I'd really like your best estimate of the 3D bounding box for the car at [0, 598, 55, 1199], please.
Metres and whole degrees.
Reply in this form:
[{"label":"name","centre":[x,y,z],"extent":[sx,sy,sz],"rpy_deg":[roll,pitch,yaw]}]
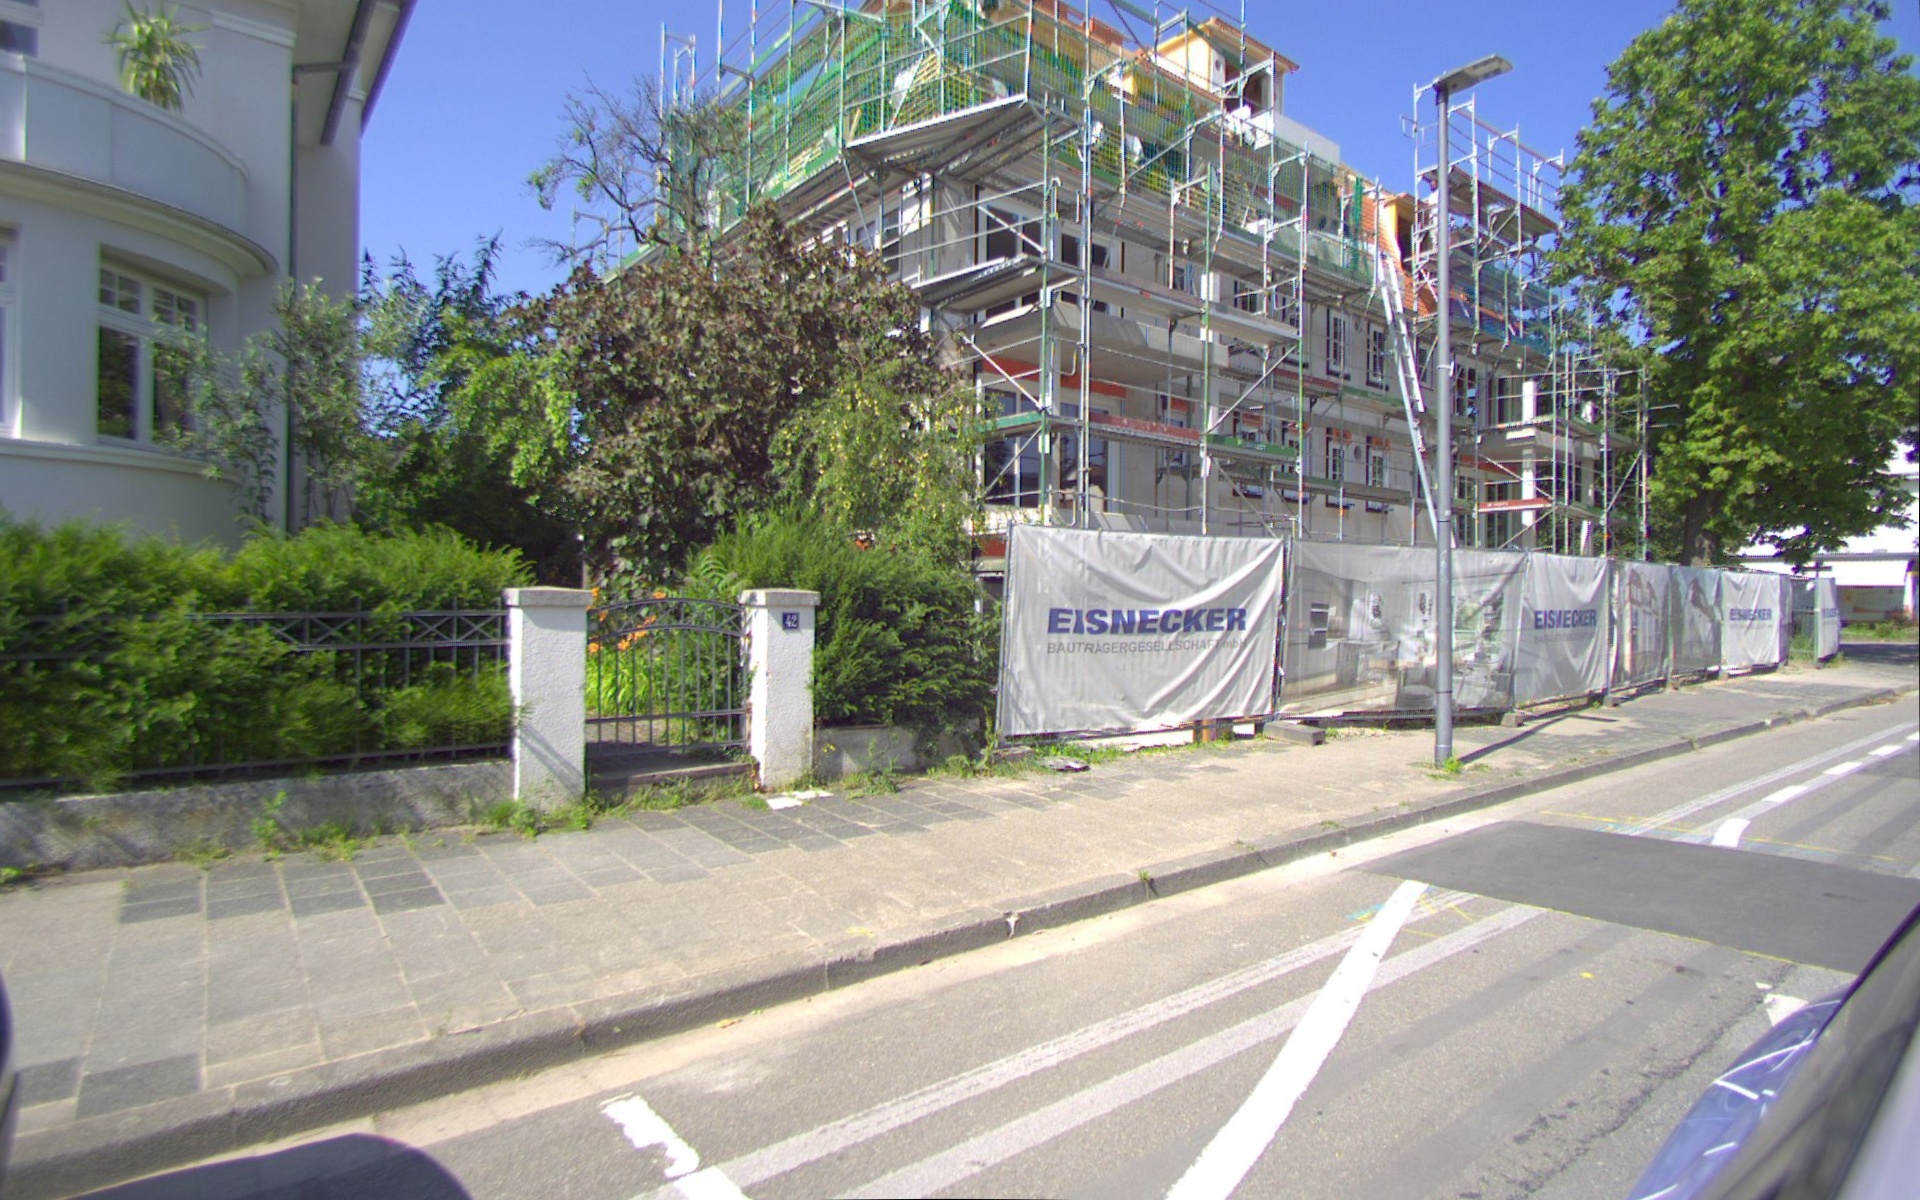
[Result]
[{"label":"car","centre":[-3.180,0.758,0.682],"extent":[3.718,1.495,1.661],"rpy_deg":[0,-2,-39]}]
